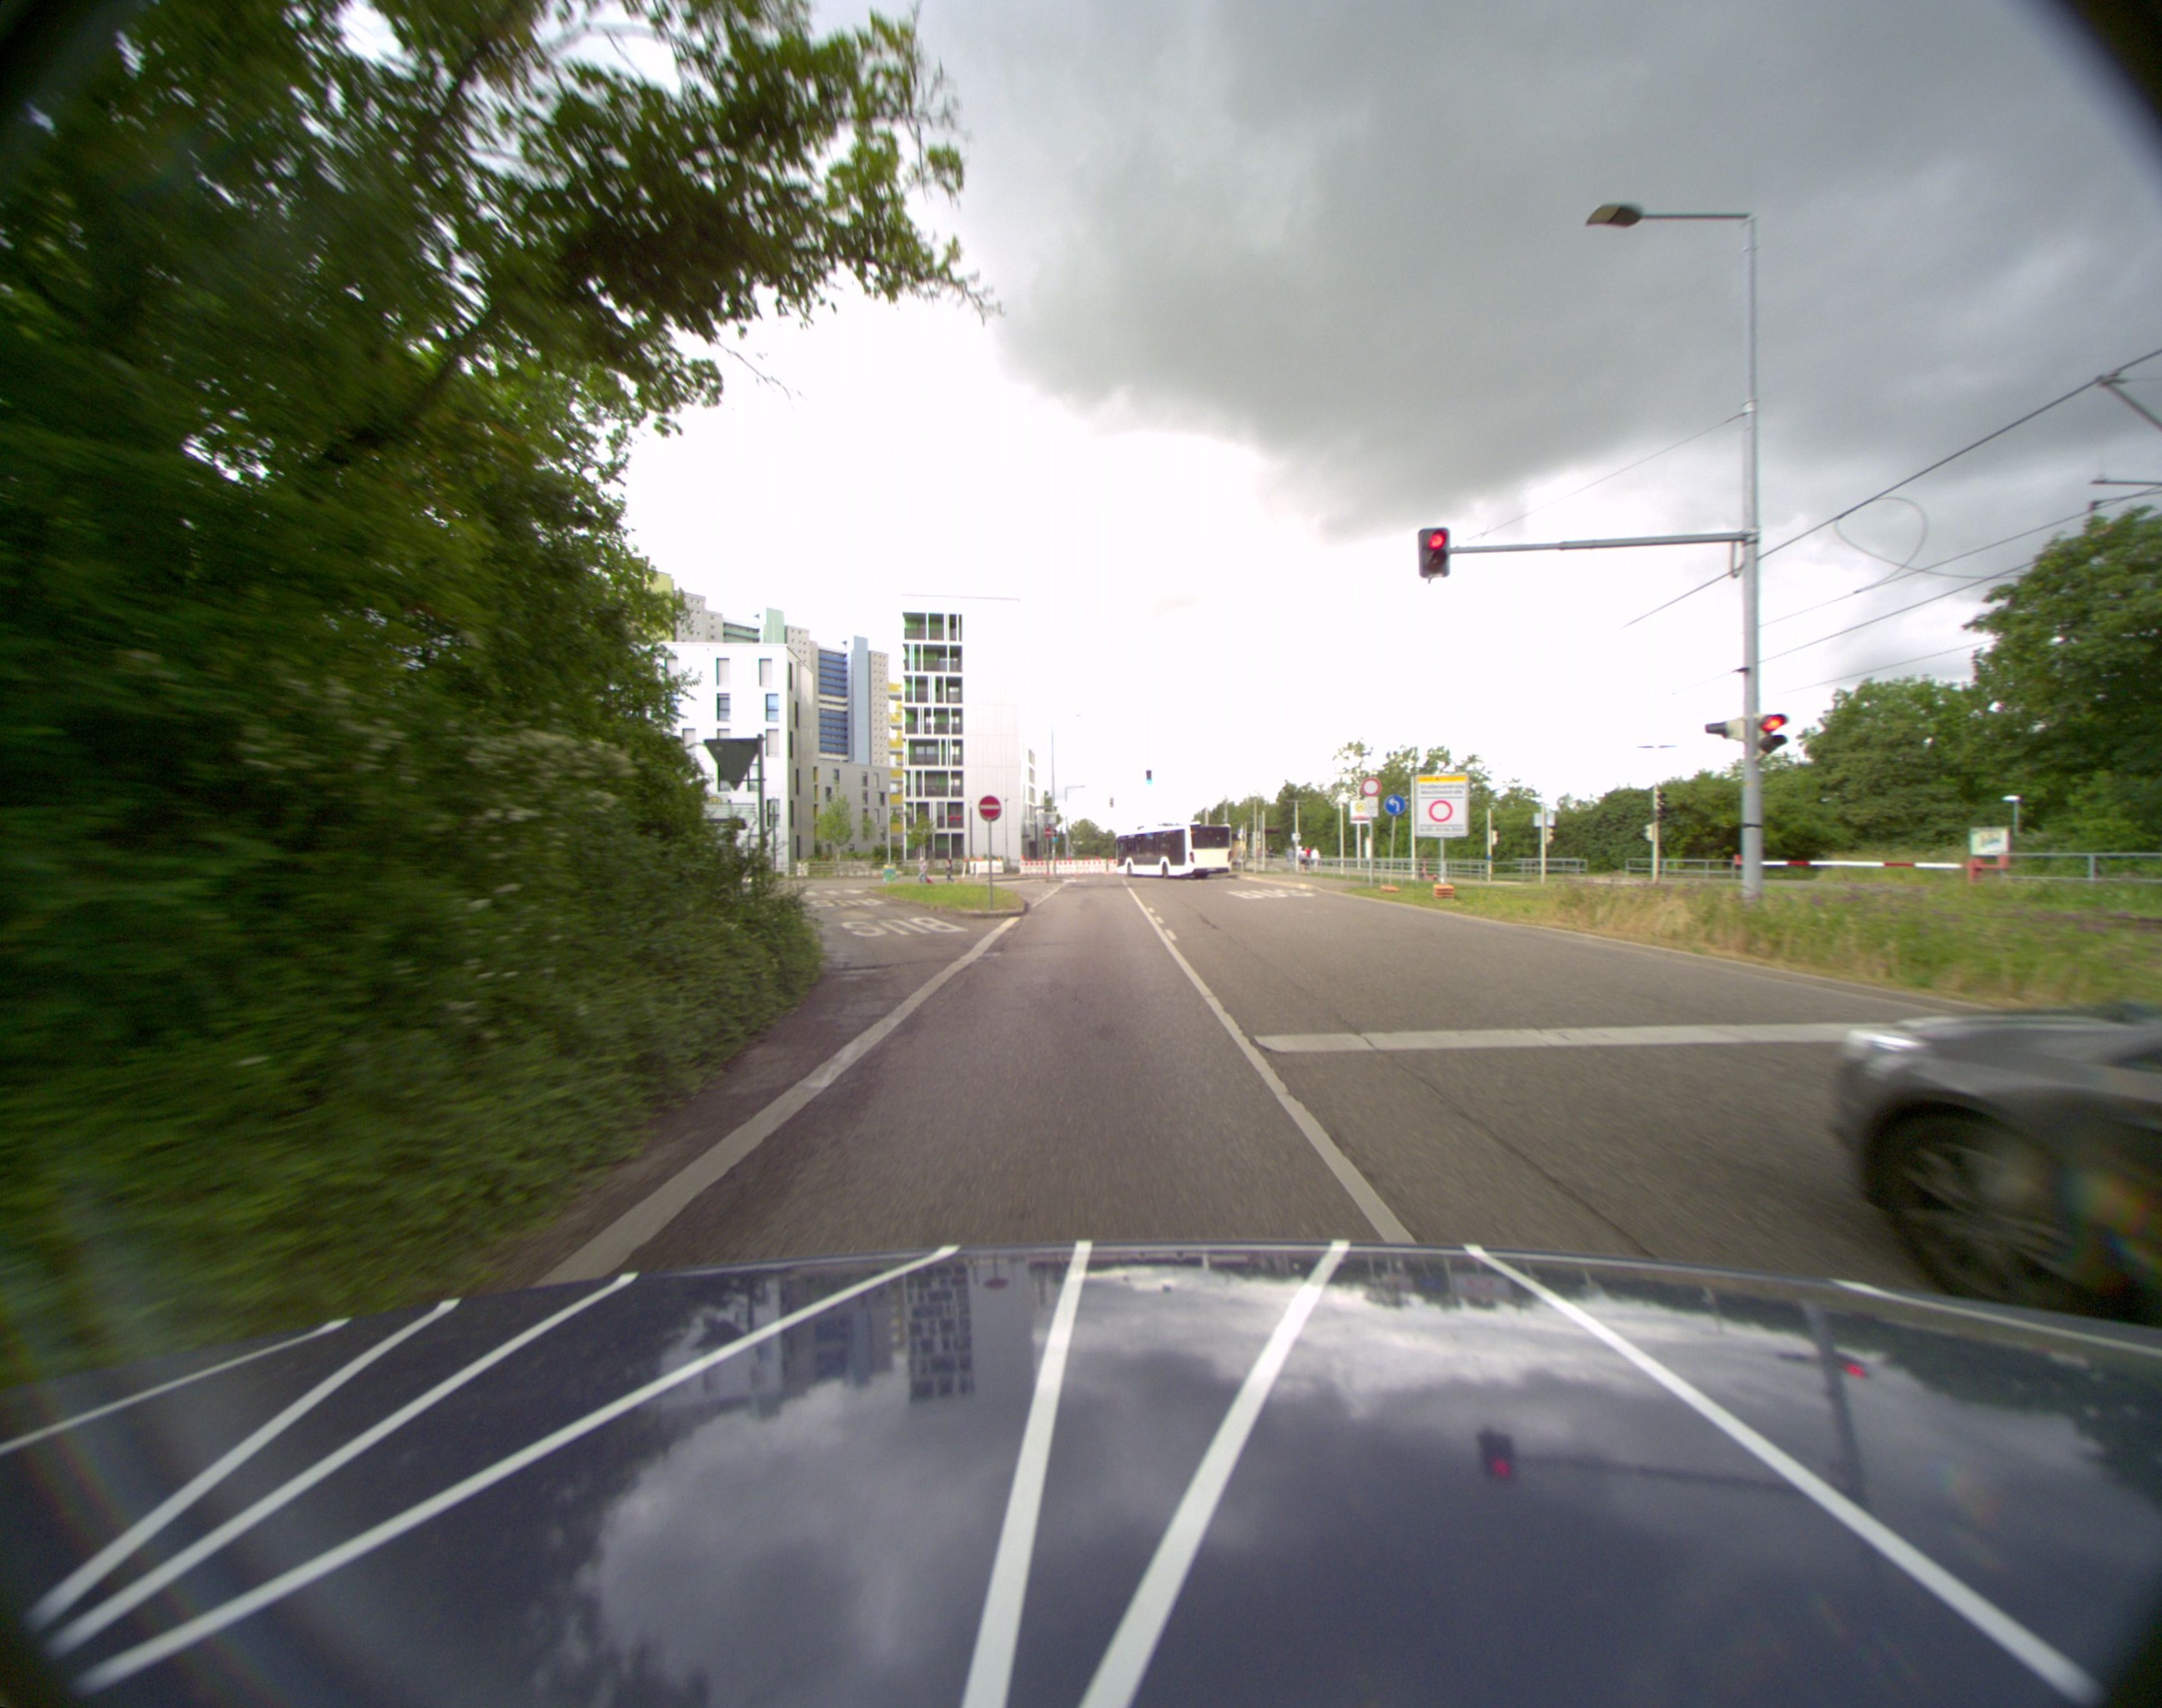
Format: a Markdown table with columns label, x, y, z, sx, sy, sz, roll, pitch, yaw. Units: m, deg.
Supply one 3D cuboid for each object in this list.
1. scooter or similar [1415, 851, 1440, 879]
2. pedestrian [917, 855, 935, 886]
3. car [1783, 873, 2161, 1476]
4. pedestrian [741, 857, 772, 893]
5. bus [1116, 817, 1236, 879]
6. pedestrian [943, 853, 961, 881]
| label | x | y | z | sx | sy | sz | roll | pitch | yaw |
| --- | --- | --- | --- | --- | --- | --- | --- | --- | --- |
| scooter or similar | 16.101 | 0.484 | 35.360 | 0.412 | 1.264 | 1.268 | -1 | 1 | -10 |
| pedestrian | -8.557 | 0.895 | 41.989 | 0.721 | 1.625 | 0.700 | 3 | 4 | 22 |
| car | 3.516 | 0.813 | 0.656 | 1.760 | 1.426 | 4.428 | -1 | 1 | 1 |
| pedestrian | -15.971 | 1.030 | 37.387 | 0.951 | 1.737 | 0.959 | 0 | 1 | 20 |
| bus | 5.260 | -0.402 | 45.459 | 2.676 | 3.184 | 12.181 | -1 | 1 | -15 |
| pedestrian | -7.316 | 0.716 | 43.114 | 0.731 | 1.558 | 0.693 | 0 | 1 | 21 |
